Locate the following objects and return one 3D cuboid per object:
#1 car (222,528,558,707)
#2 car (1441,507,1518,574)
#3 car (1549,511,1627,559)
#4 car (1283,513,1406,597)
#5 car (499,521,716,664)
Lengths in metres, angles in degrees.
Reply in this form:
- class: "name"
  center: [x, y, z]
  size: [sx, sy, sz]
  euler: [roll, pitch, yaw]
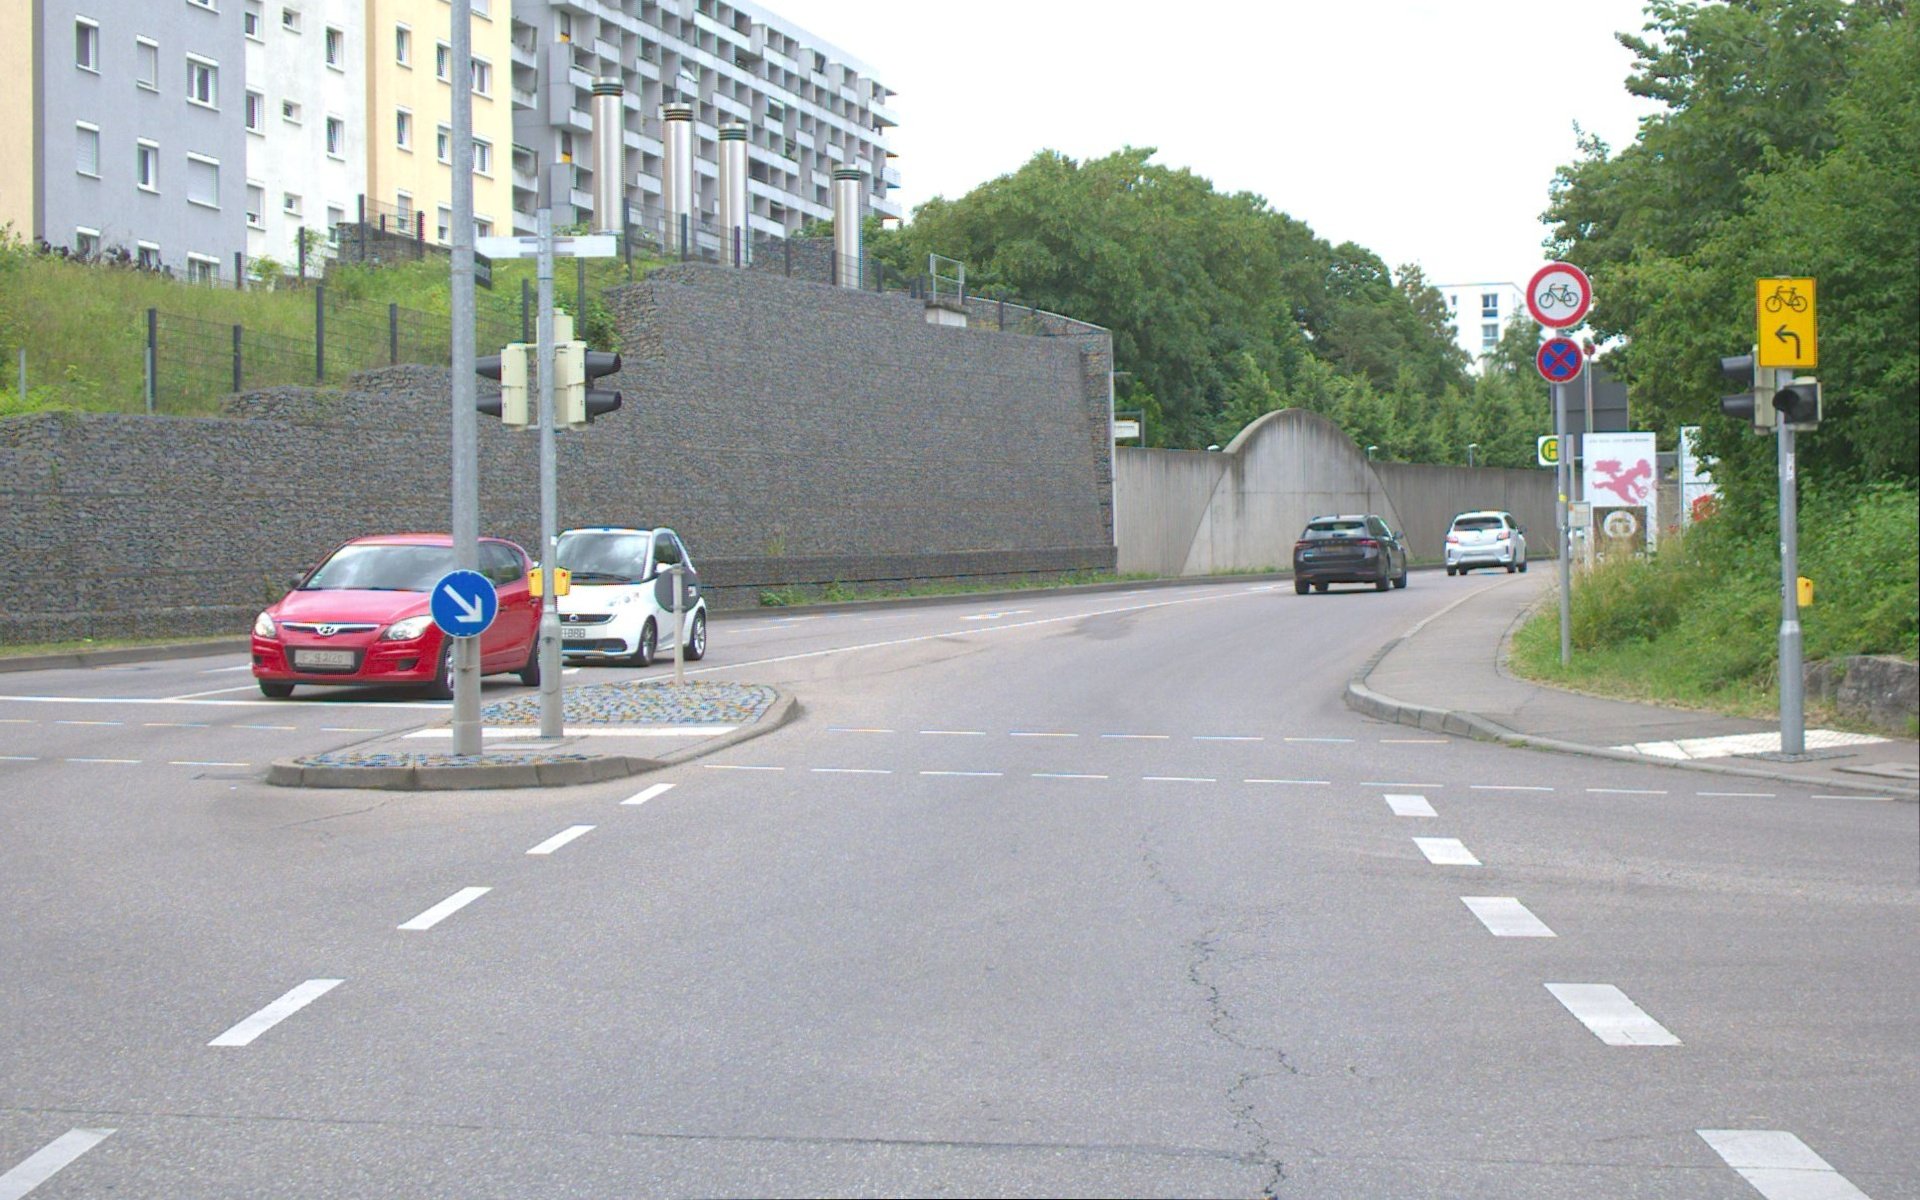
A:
- class: "car"
  center: [-5.170, 0.148, 31.716]
  size: [1.755, 1.518, 4.091]
  euler: [1, 0, 10]
- class: "car"
  center: [12.463, -1.413, 82.644]
  size: [1.755, 1.518, 4.035]
  euler: [1, 0, 8]
- class: "car"
  center: [20.040, -2.075, 109.620]
  size: [1.868, 1.485, 4.253]
  euler: [1, 1, 18]
- class: "car"
  center: [7.364, -0.829, 65.536]
  size: [1.755, 1.518, 4.034]
  euler: [1, 0, 14]
- class: "car"
  center: [-3.901, -0.082, 38.444]
  size: [1.544, 1.518, 2.912]
  euler: [1, 0, 13]
